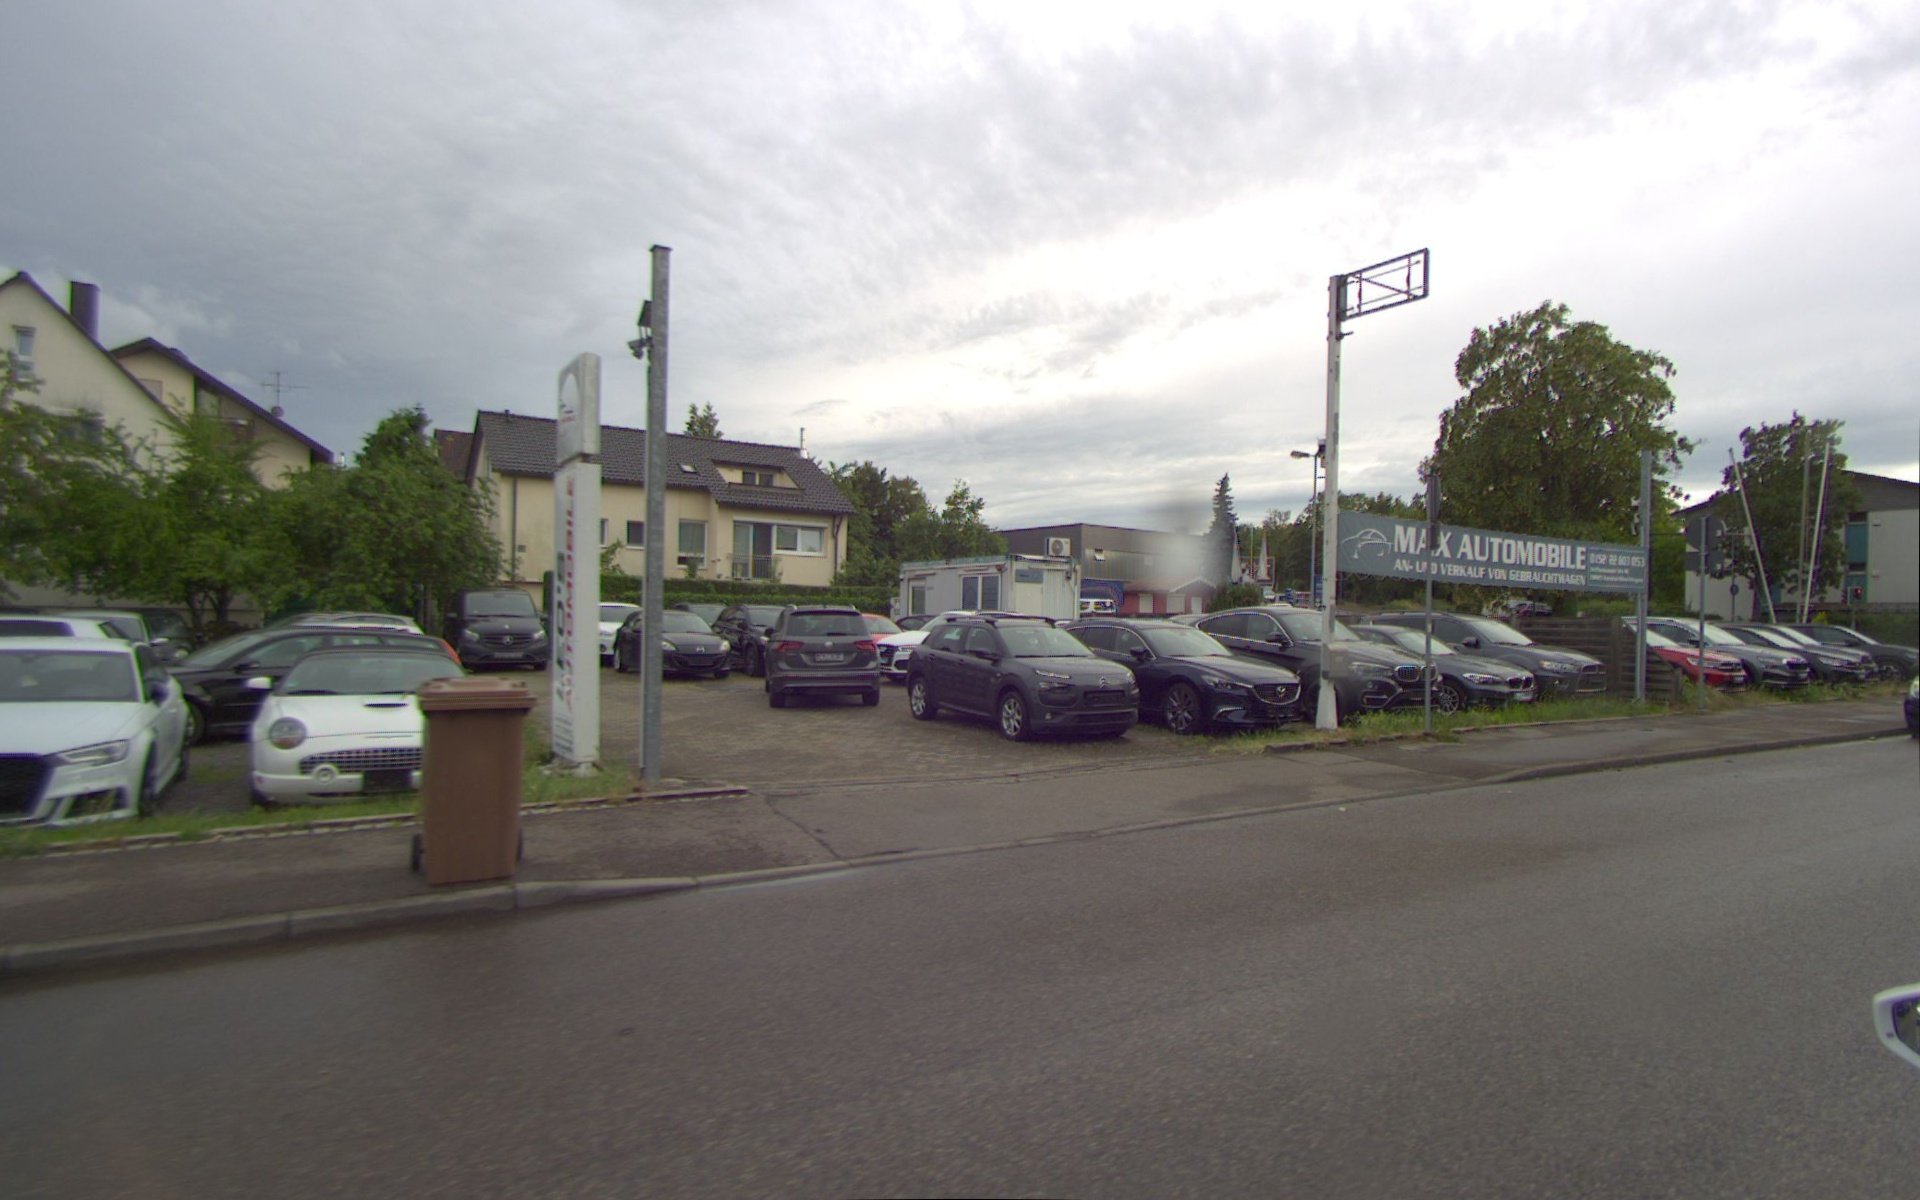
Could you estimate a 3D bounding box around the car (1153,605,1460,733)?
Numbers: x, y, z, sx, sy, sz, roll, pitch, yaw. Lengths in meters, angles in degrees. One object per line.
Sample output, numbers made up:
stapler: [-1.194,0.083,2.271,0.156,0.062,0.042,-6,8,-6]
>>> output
car: [5.287,0.957,15.903,2.035,1.714,4.326,1,-1,-31]

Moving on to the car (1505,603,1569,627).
car: [45.839,1.166,79.821,3.919,1.747,2.001,1,1,6]

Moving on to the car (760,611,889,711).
car: [-2.490,0.979,17.634,1.904,1.519,3.990,1,-1,-12]

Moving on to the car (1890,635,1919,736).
car: [15.679,1.277,15.037,3.640,1.452,1.619,1,-1,-31]

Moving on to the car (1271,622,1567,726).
car: [7.682,1.160,17.248,1.936,1.451,4.326,1,-1,-30]

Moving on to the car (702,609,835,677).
car: [-4.646,0.968,23.999,1.770,1.457,3.710,1,-1,-35]

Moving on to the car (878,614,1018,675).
car: [-0.386,1.113,26.178,1.728,1.433,3.907,1,-1,-35]

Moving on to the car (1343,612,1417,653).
car: [17.835,1.316,42.564,1.688,1.576,3.978,2,1,42]

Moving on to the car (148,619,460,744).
car: [-8.600,0.994,13.395,1.316,1.434,3.223,0,-1,35]

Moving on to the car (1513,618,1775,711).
car: [13.550,1.198,20.156,1.782,1.564,3.969,1,0,-29]

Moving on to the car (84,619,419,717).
car: [-10.630,0.961,15.264,3.973,1.274,1.600,2,-1,-44]

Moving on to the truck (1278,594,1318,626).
truck: [28.993,0.800,86.362,1.959,2.573,5.561,1,1,6]

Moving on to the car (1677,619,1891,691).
car: [21.030,1.343,25.805,1.672,1.551,3.926,0,1,-31]

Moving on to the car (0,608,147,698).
car: [-14.253,0.752,14.776,3.501,1.252,1.646,2,-1,-38]

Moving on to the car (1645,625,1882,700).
car: [18.705,1.379,23.578,1.782,1.460,3.969,1,0,-29]

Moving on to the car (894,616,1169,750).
car: [0.802,0.995,13.674,1.818,1.483,3.967,1,-1,-30]

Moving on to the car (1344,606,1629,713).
car: [9.557,0.994,18.594,1.936,1.713,4.326,1,-1,-30]

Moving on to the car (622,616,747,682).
car: [-6.166,1.025,22.209,1.974,1.289,3.721,1,-1,-27]

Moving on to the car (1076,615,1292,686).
car: [5.363,1.158,23.780,5.159,1.522,1.889,1,-2,-32]

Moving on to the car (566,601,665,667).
car: [-9.116,0.844,26.424,1.767,1.592,3.717,1,-1,-30]

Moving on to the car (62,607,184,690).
car: [-15.079,0.824,18.223,1.324,1.350,3.203,1,-1,-33]

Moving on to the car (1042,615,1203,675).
car: [4.188,1.126,25.754,3.955,1.417,1.682,1,-2,-32]

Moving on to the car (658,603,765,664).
car: [-7.004,0.899,28.091,1.769,1.578,3.713,1,-1,-33]

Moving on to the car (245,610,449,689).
car: [-12.139,0.954,20.053,1.316,1.434,3.223,0,-1,35]

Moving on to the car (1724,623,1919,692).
car: [23.353,1.493,27.254,1.610,1.551,3.911,0,1,-41]

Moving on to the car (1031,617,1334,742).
car: [3.051,1.025,14.728,1.919,1.483,4.326,1,-1,-30]

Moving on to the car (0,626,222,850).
car: [-7.529,0.947,8.334,1.868,1.392,4.353,1,-1,-31]

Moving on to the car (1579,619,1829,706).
car: [15.970,1.267,21.772,1.782,1.564,3.969,1,0,-29]

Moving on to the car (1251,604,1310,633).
car: [23.862,1.366,74.885,1.974,2.021,3.972,0,1,-27]

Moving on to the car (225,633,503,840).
car: [-5.506,1.031,9.343,1.751,1.349,4.428,1,-1,-31]

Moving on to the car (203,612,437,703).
car: [-11.159,0.962,17.677,1.317,1.434,3.220,0,-1,38]

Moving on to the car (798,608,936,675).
car: [-2.415,0.989,25.327,1.818,1.550,3.963,1,-1,-33]

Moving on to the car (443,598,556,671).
car: [-11.002,0.763,23.841,1.879,1.576,3.964,1,-1,-33]

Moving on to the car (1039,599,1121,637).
car: [6.477,0.958,54.711,1.981,1.896,4.404,0,1,-37]

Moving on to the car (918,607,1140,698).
car: [1.334,0.951,18.891,3.955,1.550,1.682,1,-2,-32]

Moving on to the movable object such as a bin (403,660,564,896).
movable object such as a bin: [-2.653,0.929,5.571,0.727,1.145,0.704,1,0,-31]
